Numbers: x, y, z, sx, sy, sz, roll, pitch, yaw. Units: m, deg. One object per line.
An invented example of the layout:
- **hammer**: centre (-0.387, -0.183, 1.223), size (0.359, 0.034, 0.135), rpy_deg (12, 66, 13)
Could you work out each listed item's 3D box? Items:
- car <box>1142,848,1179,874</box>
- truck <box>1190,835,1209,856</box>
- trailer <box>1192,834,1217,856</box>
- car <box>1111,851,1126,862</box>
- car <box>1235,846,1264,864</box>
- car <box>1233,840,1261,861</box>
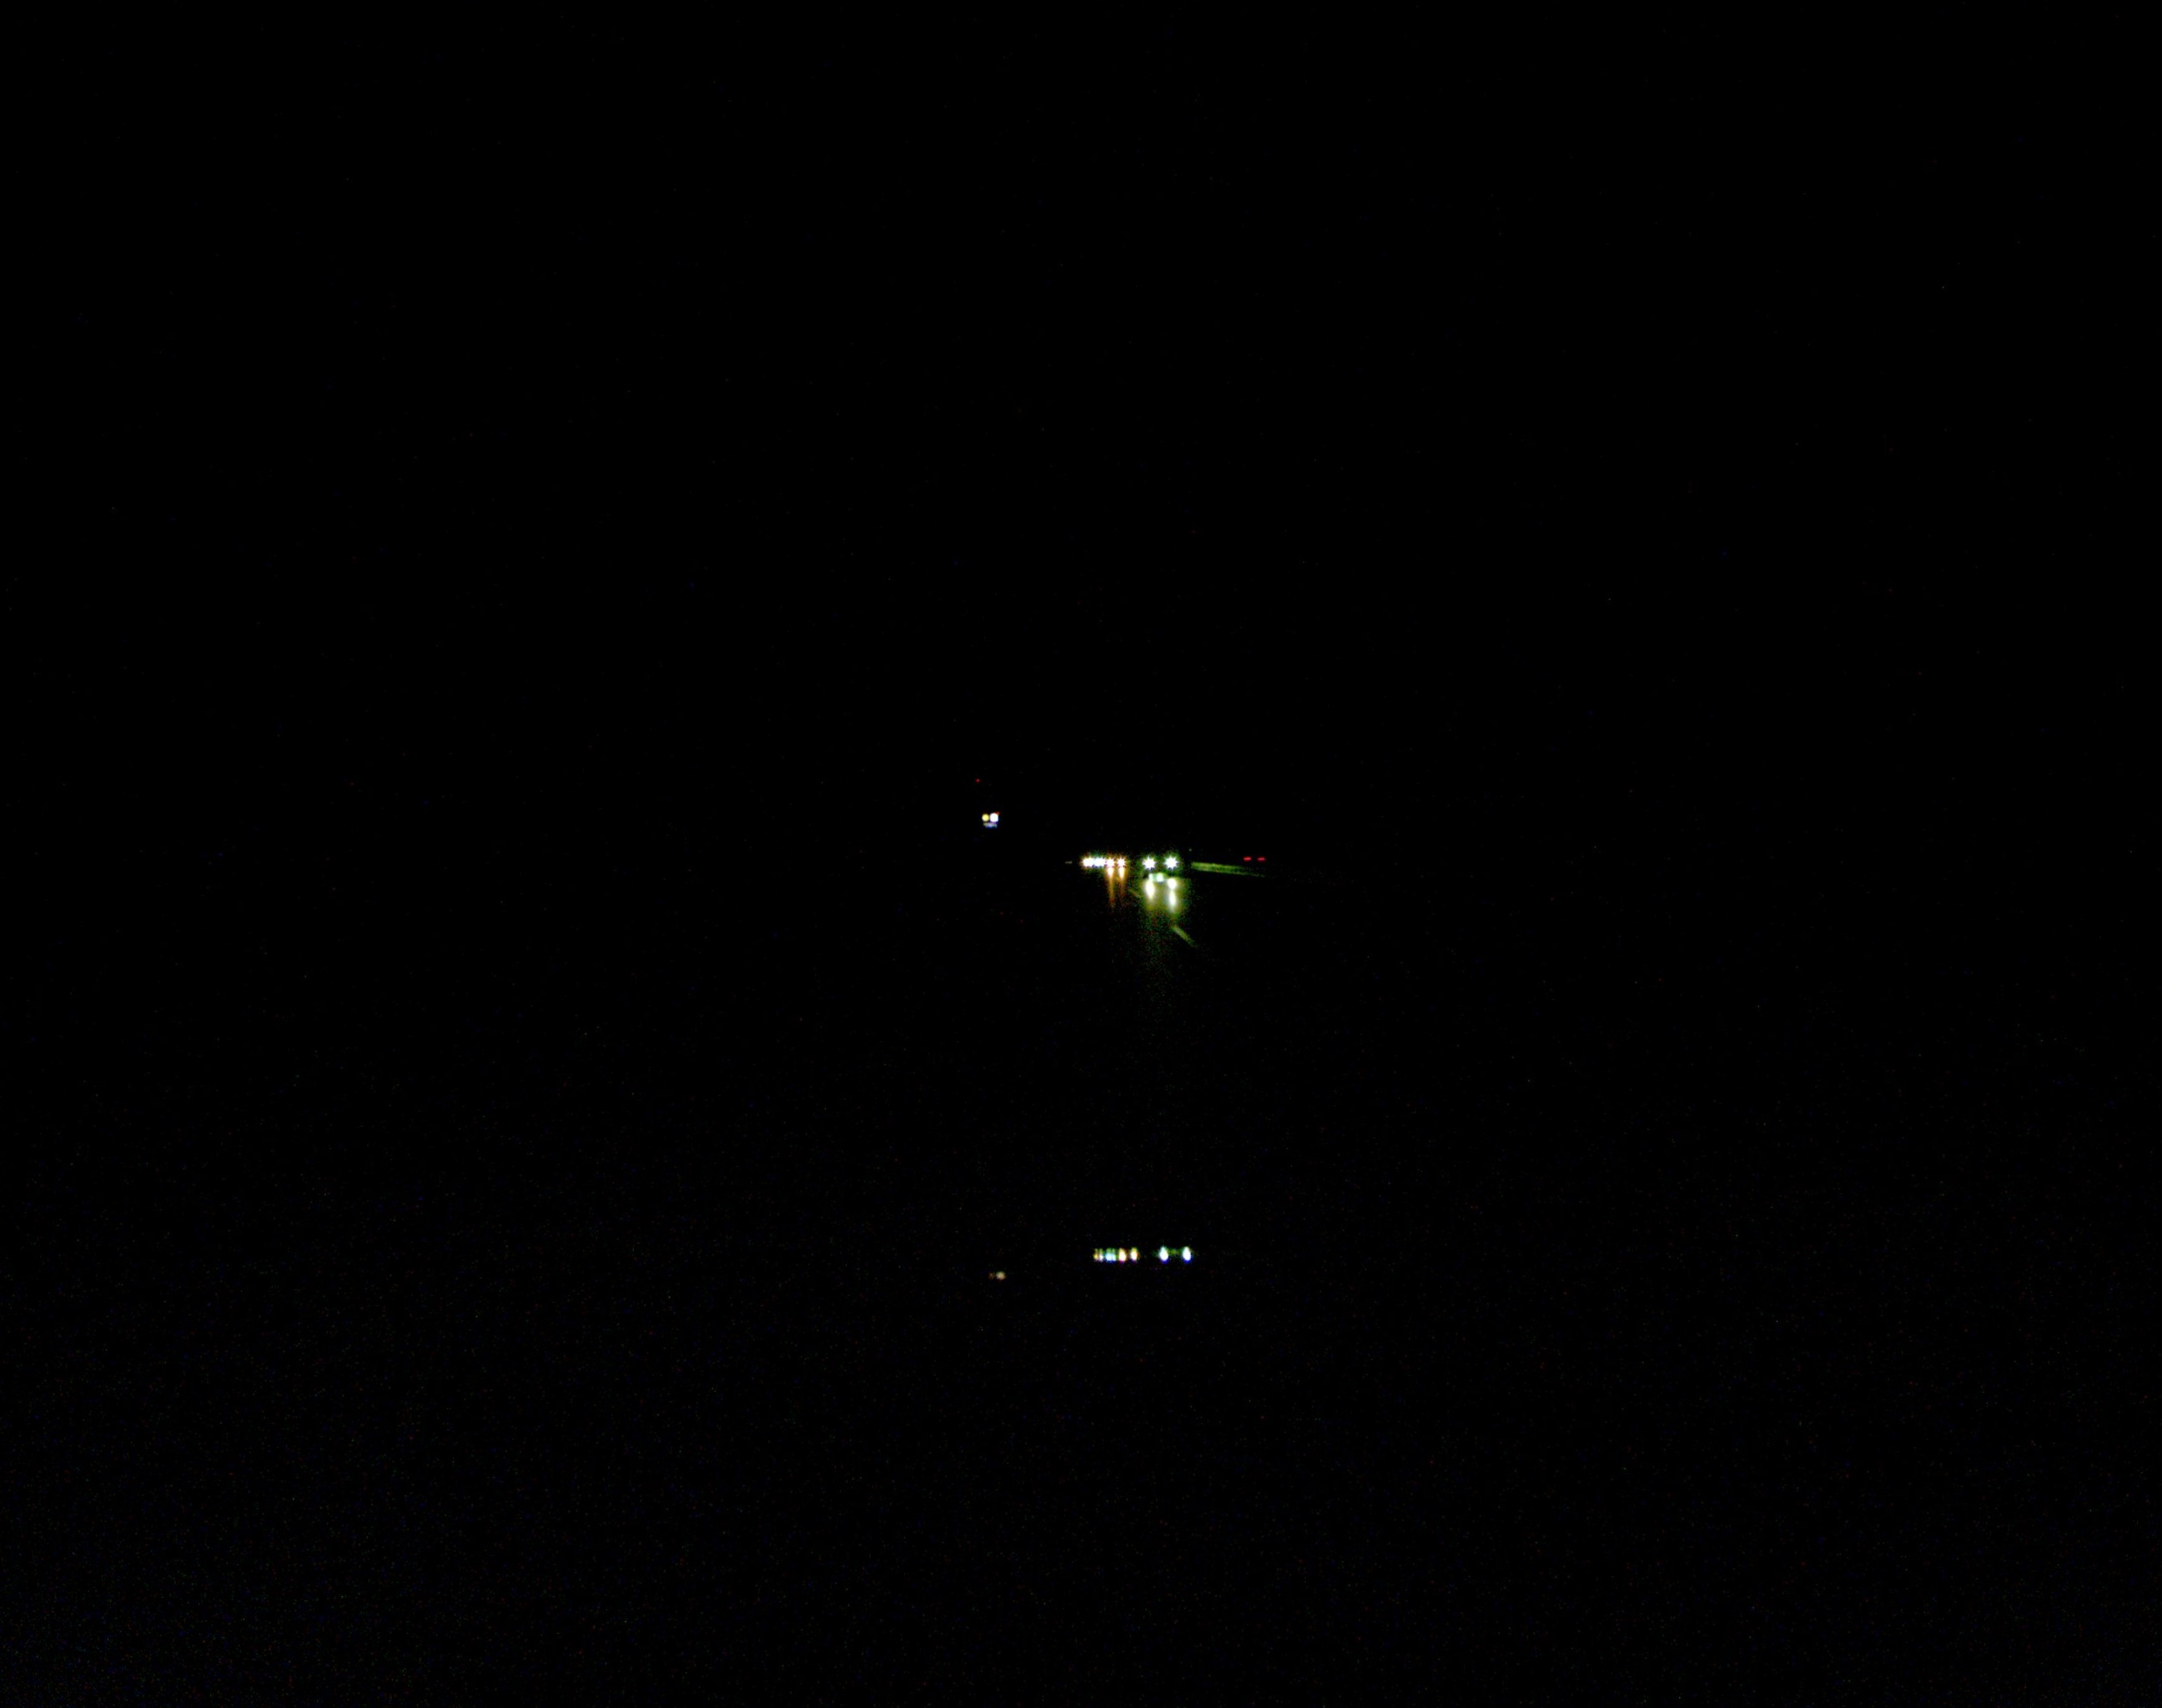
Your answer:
- **car**: centre (5.476, 0.448, 52.976), size (1.998, 1.711, 5.942), rpy_deg (-2, 0, 1)
- **truck**: centre (24.951, -1.843, 160.291), size (3.063, 4.209, 6.748), rpy_deg (-2, 0, 1)
- **trailer**: centre (24.806, -1.792, 153.539), size (3.063, 4.209, 13.040), rpy_deg (-2, 0, 1)
- **car**: centre (5.118, 0.289, 104.948), size (1.998, 1.423, 4.329), rpy_deg (-2, 1, 2)
- **car**: centre (20.090, 0.103, 90.856), size (2.339, 2.002, 5.742), rpy_deg (-2, 0, 1)
- **car**: centre (24.727, -0.491, 113.322), size (2.499, 3.012, 7.139), rpy_deg (-2, 0, 0)
